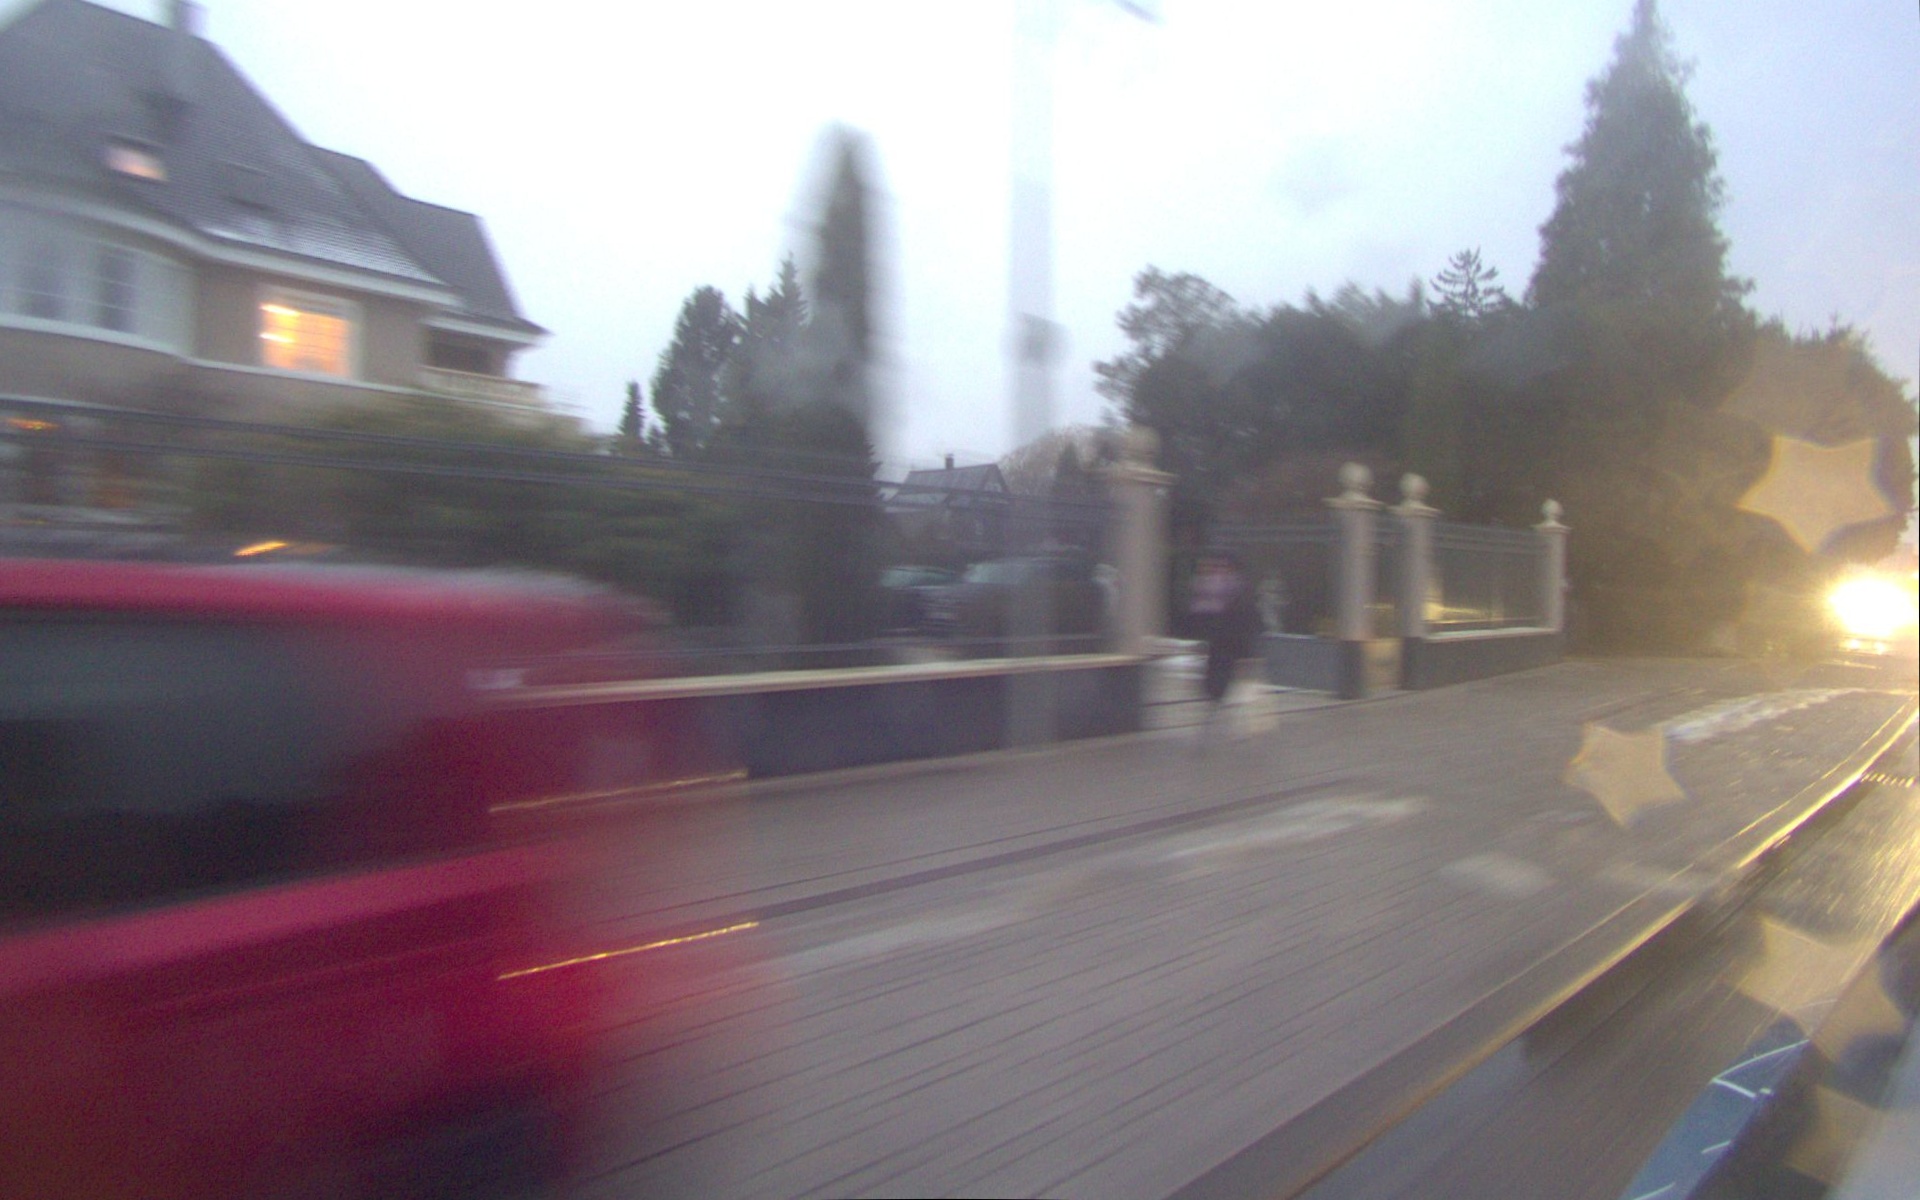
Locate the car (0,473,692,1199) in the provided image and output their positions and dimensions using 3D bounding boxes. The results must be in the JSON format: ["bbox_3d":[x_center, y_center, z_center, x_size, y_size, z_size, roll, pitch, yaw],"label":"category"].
[{"bbox_3d":[-2.295,0.564,1.378,3.330,1.558,1.654,-1,5,-40],"label":"car"}]

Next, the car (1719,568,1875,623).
[{"bbox_3d":[31.106,-0.210,37.788,4.317,1.753,1.972,5,3,39],"label":"car"}]

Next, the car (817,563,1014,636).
[{"bbox_3d":[-0.872,-0.075,21.245,3.934,1.392,1.807,-1,2,-44],"label":"car"}]

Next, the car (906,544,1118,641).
[{"bbox_3d":[1.106,-0.194,19.642,1.940,1.683,4.166,2,2,42],"label":"car"}]

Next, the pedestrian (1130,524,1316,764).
[{"bbox_3d":[2.111,0.296,8.142,1.037,1.763,0.989,0,3,-41],"label":"pedestrian"}]

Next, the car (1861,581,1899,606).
[{"bbox_3d":[63.300,-0.486,69.684,1.769,1.638,3.817,0,1,40],"label":"car"}]
